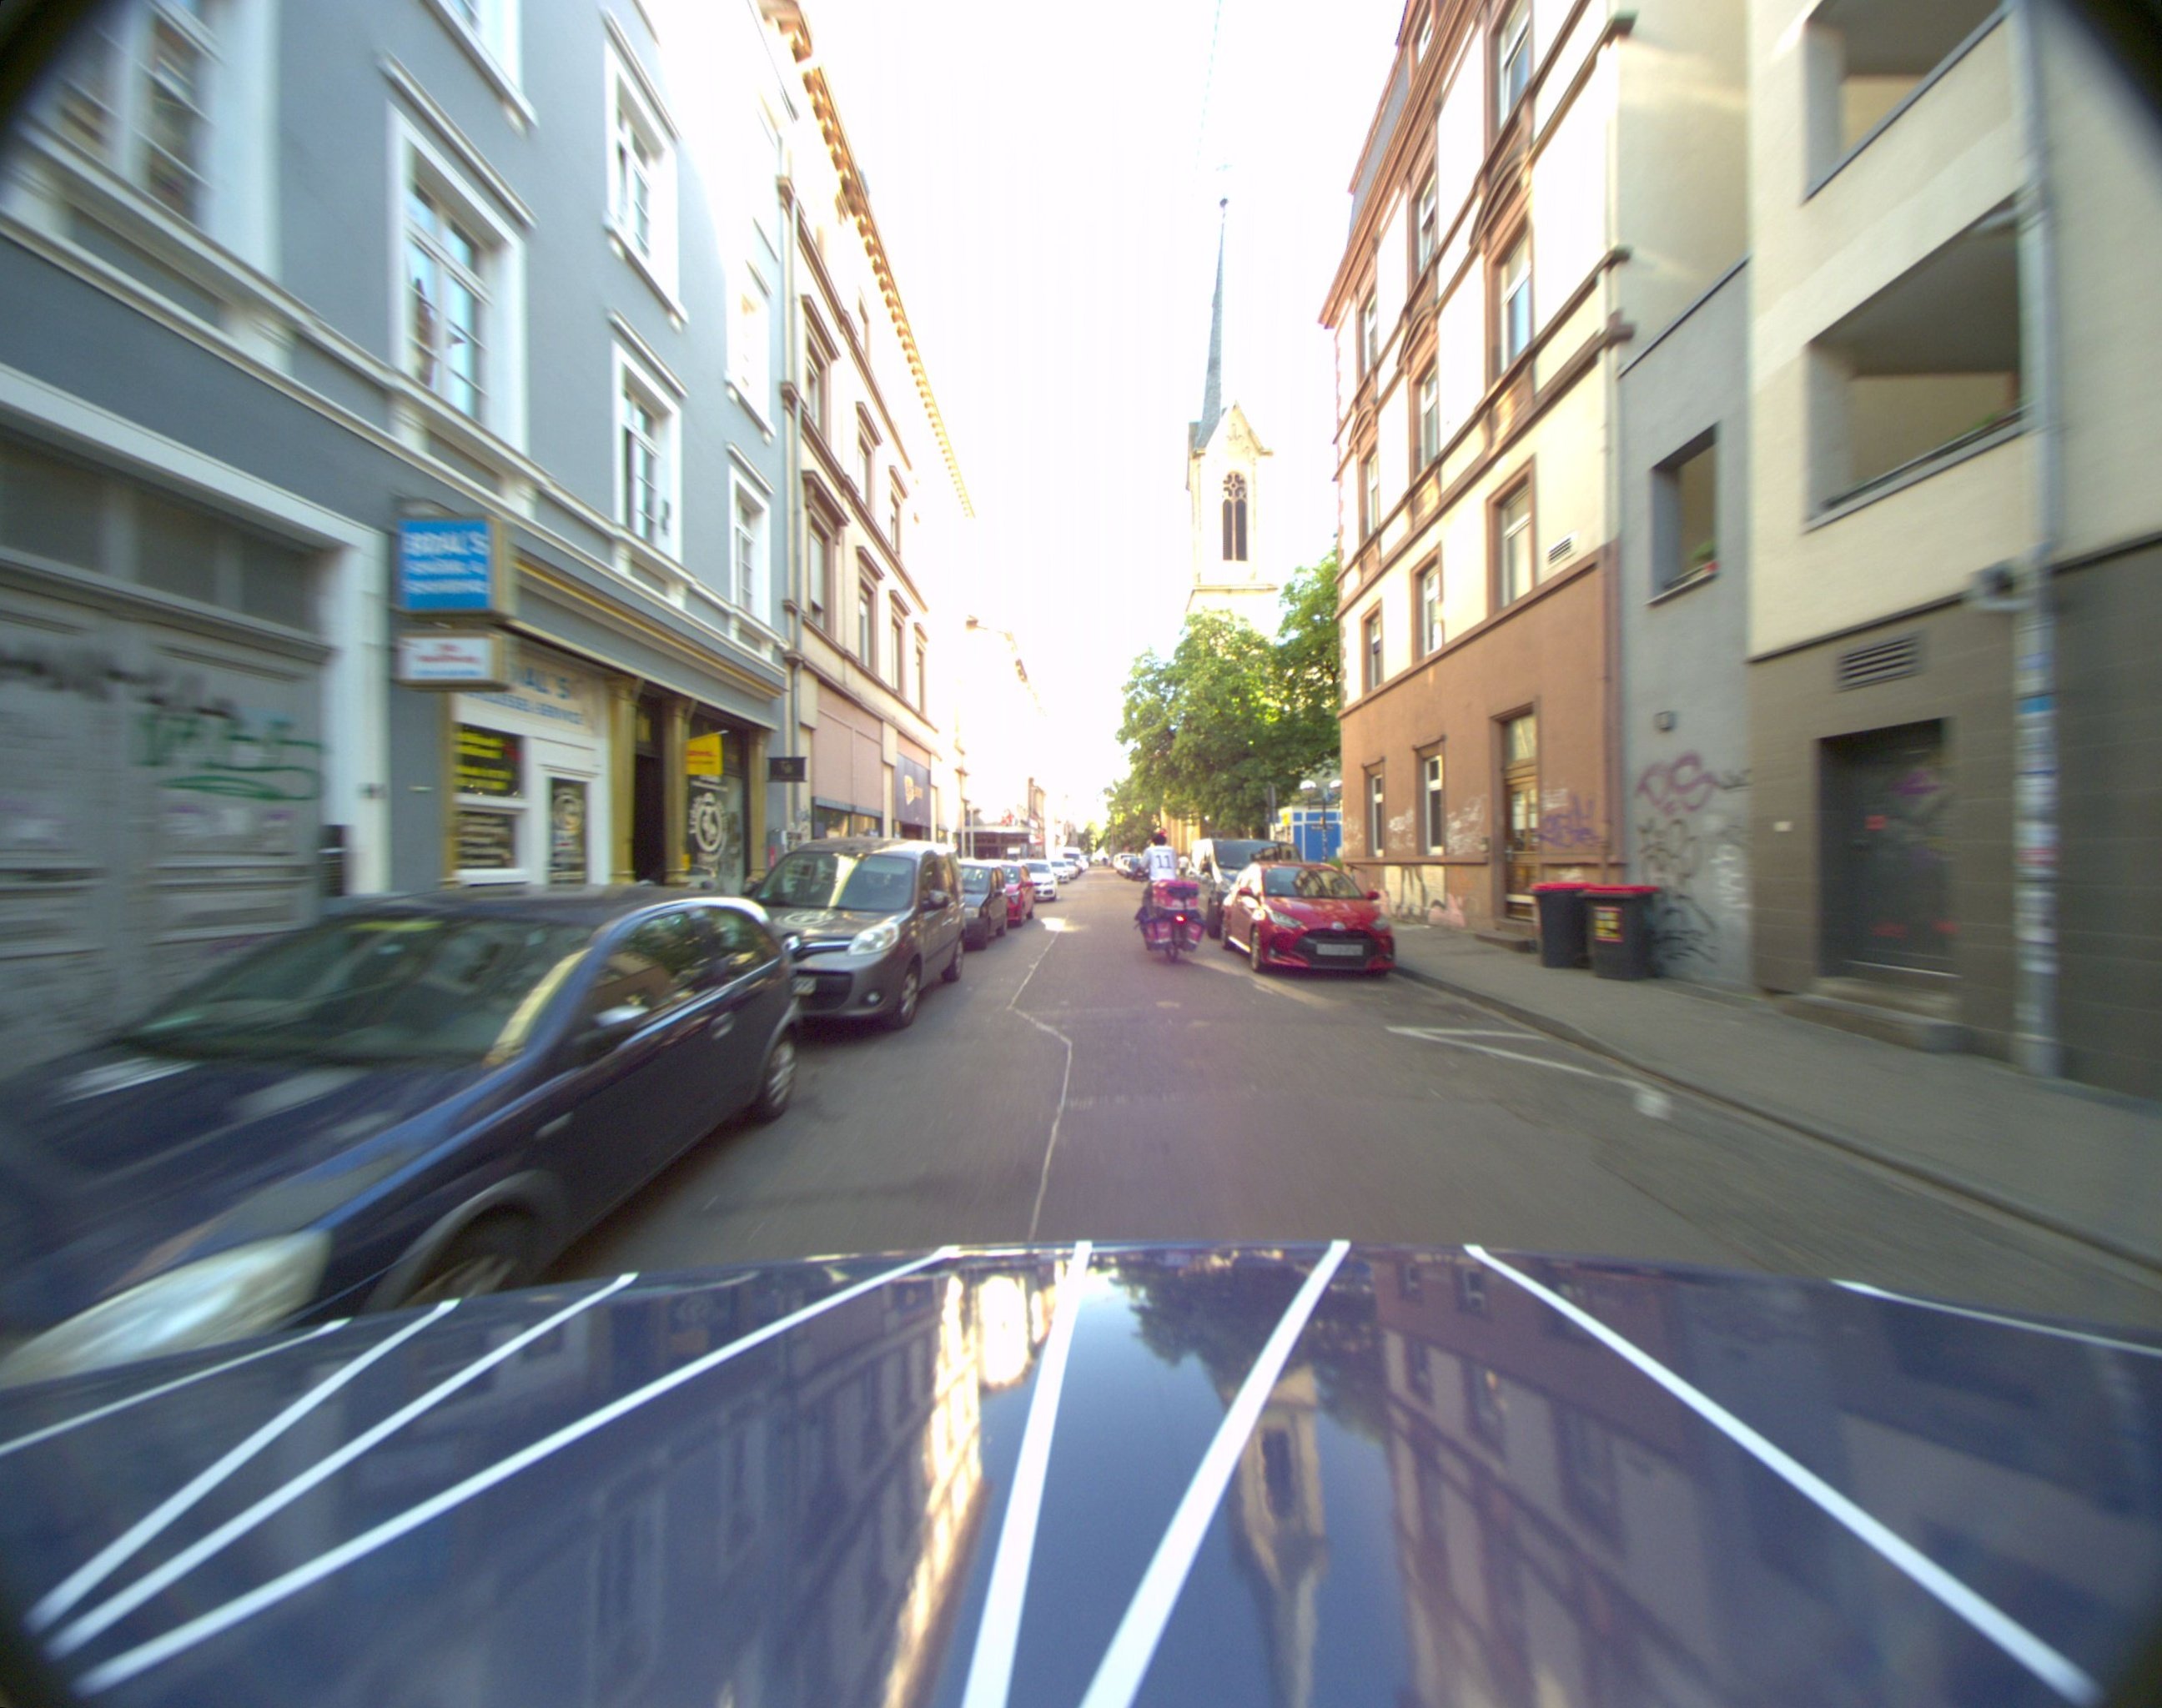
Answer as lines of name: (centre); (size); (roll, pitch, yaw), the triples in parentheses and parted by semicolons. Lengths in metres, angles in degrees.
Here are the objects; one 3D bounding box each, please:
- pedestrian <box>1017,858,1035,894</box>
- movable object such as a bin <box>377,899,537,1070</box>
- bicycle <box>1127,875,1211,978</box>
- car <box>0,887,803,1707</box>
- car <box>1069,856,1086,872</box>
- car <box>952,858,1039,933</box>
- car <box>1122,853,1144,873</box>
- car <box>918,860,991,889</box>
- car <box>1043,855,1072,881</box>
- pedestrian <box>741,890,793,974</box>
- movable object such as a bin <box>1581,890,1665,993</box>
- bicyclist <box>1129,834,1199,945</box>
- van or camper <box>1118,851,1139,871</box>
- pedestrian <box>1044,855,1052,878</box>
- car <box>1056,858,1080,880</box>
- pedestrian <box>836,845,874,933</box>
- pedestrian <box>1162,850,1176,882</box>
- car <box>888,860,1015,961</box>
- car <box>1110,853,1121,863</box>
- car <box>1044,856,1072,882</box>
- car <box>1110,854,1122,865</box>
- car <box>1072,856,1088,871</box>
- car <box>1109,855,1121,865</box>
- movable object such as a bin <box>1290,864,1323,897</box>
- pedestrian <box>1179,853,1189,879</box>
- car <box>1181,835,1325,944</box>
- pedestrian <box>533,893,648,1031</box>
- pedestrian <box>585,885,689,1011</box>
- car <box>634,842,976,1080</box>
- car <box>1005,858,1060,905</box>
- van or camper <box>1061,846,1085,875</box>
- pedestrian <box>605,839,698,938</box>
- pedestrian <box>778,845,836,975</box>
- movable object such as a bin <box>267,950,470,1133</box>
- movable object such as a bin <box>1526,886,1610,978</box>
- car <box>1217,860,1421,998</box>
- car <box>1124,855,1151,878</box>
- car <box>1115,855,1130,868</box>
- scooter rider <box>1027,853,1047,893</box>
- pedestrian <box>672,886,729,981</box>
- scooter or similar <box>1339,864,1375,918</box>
pedestrian: (-2.517, 1.003, 34.965); (0.566, 1.629, 0.527); (-3, 1, -44)
movable object such as a bin: (-4.864, 0.992, 5.963); (0.764, 1.236, 0.580); (0, 1, -1)
bicycle: (1.249, 1.010, 11.452); (0.980, 1.306, 2.555); (0, 0, 0)
car: (-2.486, 0.992, 2.873); (1.556, 1.502, 3.611); (-2, 1, -1)
car: (-0.357, 1.066, 82.364); (1.696, 1.615, 3.814); (-1, 0, 2)
car: (-2.011, 0.943, 18.754); (1.610, 1.563, 3.553); (-2, 1, 1)
car: (4.501, 0.777, 66.090); (1.724, 1.558, 4.000); (-2, 1, 2)
car: (-6.763, 1.095, 40.963); (3.582, 1.477, 1.789); (-1, 1, 1)
car: (-1.464, 0.857, 47.266); (1.693, 1.454, 3.640); (-2, 1, -1)
pedestrian: (-4.831, 1.184, 11.686); (0.530, 1.215, 0.515); (-1, 1, 41)
movable object such as a bin: (6.154, 0.967, 8.623); (0.731, 1.060, 0.505); (-2, 1, -30)
bicyclist: (1.252, 0.522, 11.677); (0.952, 1.618, 0.953); (1, 0, 1)
van or camper: (4.808, 0.698, 77.225); (1.984, 1.939, 4.563); (-1, 0, 2)
pedestrian: (-2.659, 1.009, 61.380); (0.563, 1.883, 0.530); (-2, 1, 1)
car: (-0.906, 1.105, 57.034); (1.558, 1.517, 4.201); (-2, 1, 2)
pedestrian: (-4.600, 0.688, 15.494); (0.630, 1.730, 0.658); (-2, 1, -11)
pedestrian: (5.189, 0.710, 44.727); (0.718, 1.862, 0.720); (-2, 1, 1)
car: (-2.280, 0.935, 14.126); (1.573, 1.548, 3.314); (2, 1, 3)
car: (6.062, 0.720, 133.213); (1.777, 1.614, 4.022); (-1, 0, 0)
car: (-1.555, 0.980, 52.279); (1.704, 1.640, 4.063); (-2, 1, 0)
car: (5.648, 0.908, 122.720); (1.777, 1.614, 4.022); (-1, 0, 0)
car: (-0.125, 1.057, 87.452); (1.696, 1.615, 3.963); (-1, 0, 2)
car: (5.644, 0.929, 127.369); (1.777, 1.614, 4.022); (-1, 0, 0)
movable object such as a bin: (7.594, 0.884, 25.659); (0.872, 1.080, 0.774); (-2, 1, 2)
pedestrian: (6.470, 0.766, 47.821); (0.480, 1.584, 0.714); (-2, 1, -1)
car: (3.391, 0.649, 16.093); (2.025, 1.868, 5.298); (-2, 0, 3)
pedestrian: (-4.855, 1.047, 7.557); (0.677, 1.269, 0.628); (-2, 1, 3)
pedestrian: (-4.803, 0.998, 8.265); (0.677, 1.269, 0.654); (-2, 1, 3)
car: (-2.429, 0.810, 8.019); (1.904, 1.783, 4.315); (-2, 1, 1)
car: (-1.732, 0.971, 28.454); (1.791, 1.507, 4.136); (-2, 1, -1)
van or camper: (-0.764, 0.559, 73.399); (1.998, 2.617, 5.979); (-2, 1, 2)
pedestrian: (-5.102, 0.393, 9.058); (0.677, 1.118, 0.654); (-2, 1, 3)
pedestrian: (-3.730, 0.745, 10.369); (0.427, 1.730, 0.563); (-2, 1, 14)
movable object such as a bin: (-4.911, 1.265, 5.287); (0.726, 1.085, 0.685); (-2, 0, -1)
movable object such as a bin: (6.073, 0.952, 9.510); (0.760, 1.060, 0.652); (-2, 1, 21)
car: (3.173, 0.905, 10.967); (1.755, 1.513, 3.869); (2, 1, 1)
car: (4.123, 0.907, 55.929); (1.798, 1.543, 3.834); (-2, 1, 2)
car: (5.081, 0.920, 93.322); (1.696, 1.529, 3.814); (-1, 0, 2)
scooter rider: (-1.981, 0.870, 34.441); (0.610, 1.768, 0.566); (-1, 1, 41)
pedestrian: (-5.078, 1.049, 10.164); (0.439, 1.215, 0.514); (-2, 1, 3)
scooter or similar: (6.578, 0.863, 18.132); (0.348, 1.209, 1.391); (-2, 1, 1)
